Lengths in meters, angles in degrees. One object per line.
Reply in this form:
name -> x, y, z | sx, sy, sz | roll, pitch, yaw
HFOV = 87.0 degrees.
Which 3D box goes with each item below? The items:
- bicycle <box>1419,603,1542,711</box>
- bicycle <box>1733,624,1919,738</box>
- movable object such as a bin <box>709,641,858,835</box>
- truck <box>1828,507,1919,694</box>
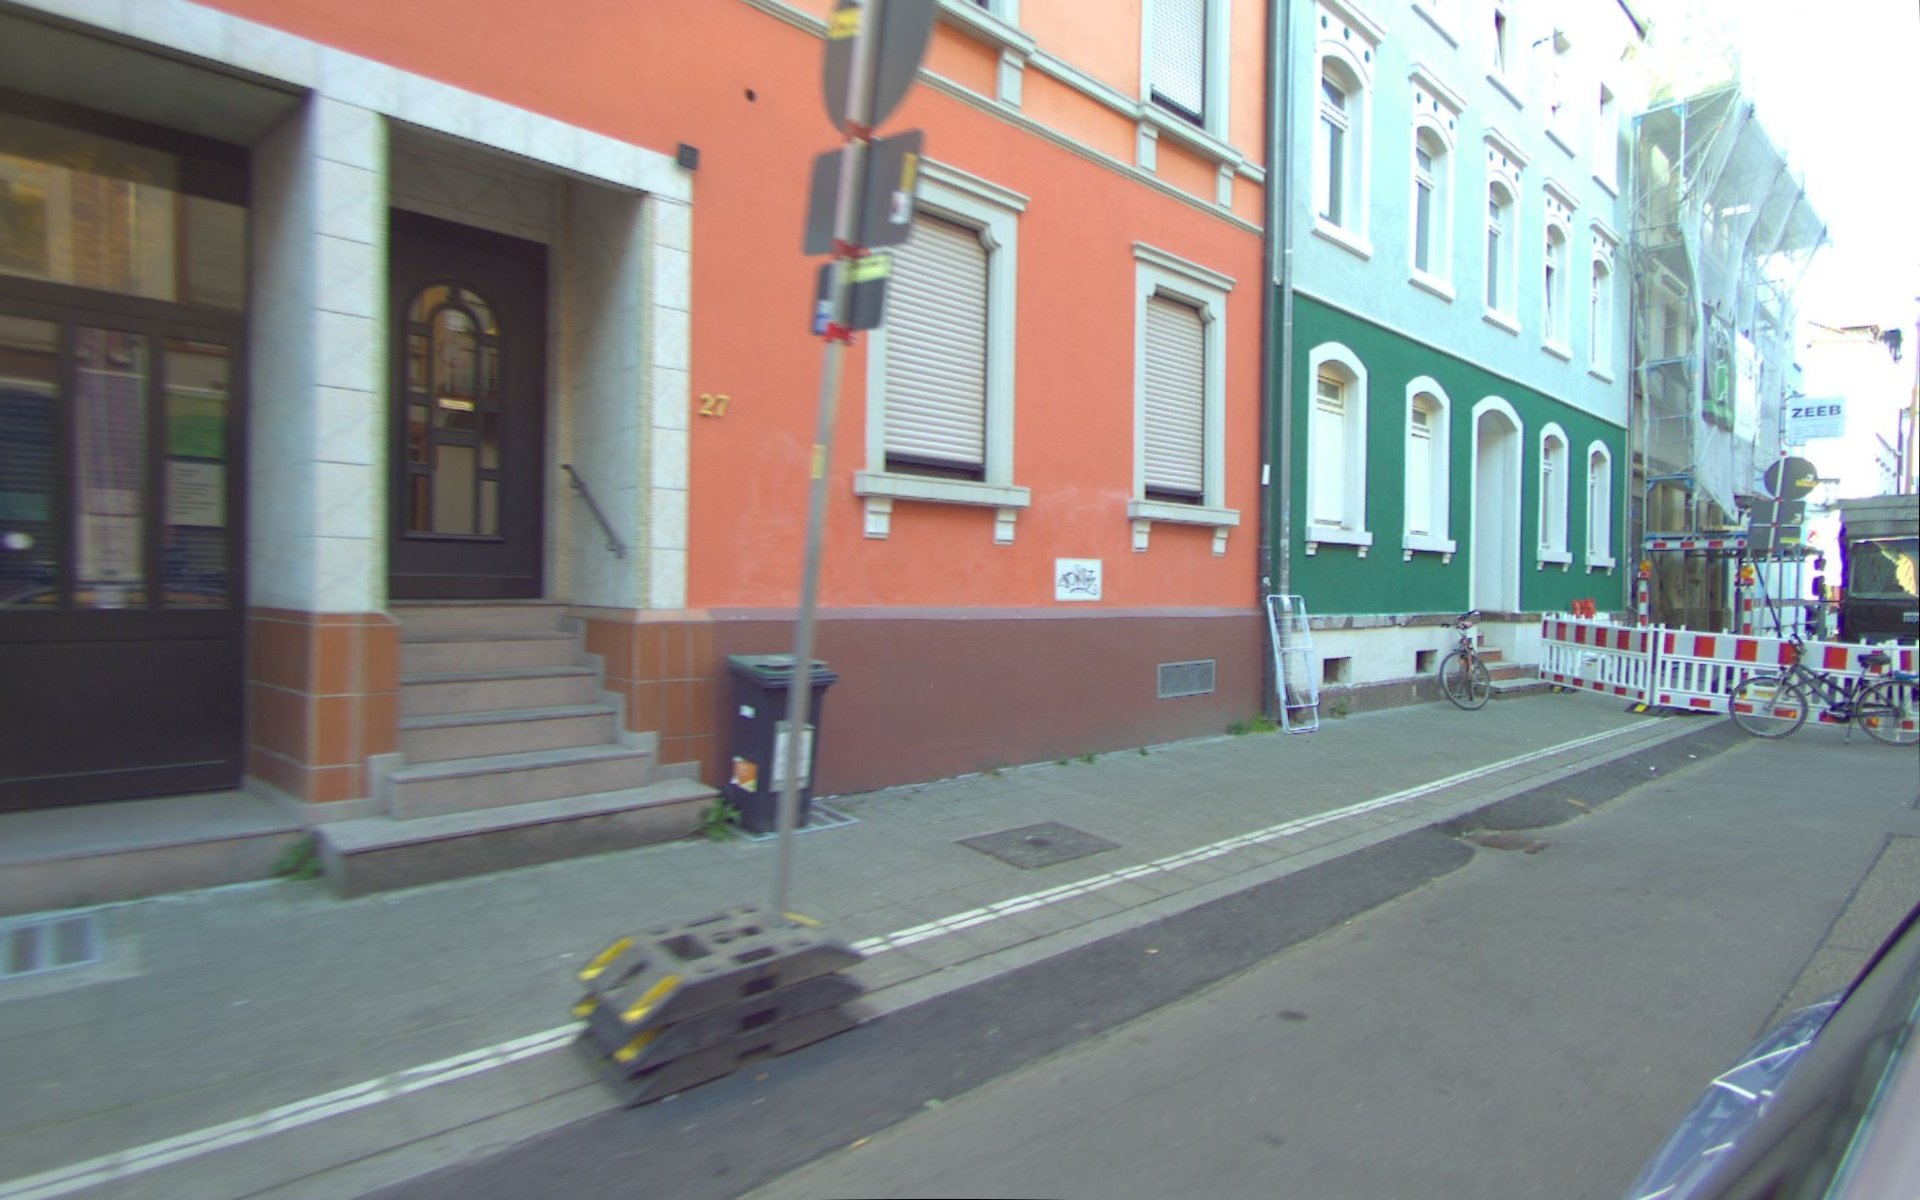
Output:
bicycle -> 6.316, 0.645, 12.246 | 1.803, 1.142, 0.656 | -1, 5, -42
bicycle -> 9.542, 0.840, 10.941 | 1.848, 1.124, 0.634 | 0, 0, 42
movable object such as a bin -> -0.985, 0.728, 5.619 | 0.570, 0.916, 0.598 | -1, 5, -43
truck -> 17.499, -0.034, 17.649 | 7.266, 2.849, 2.665 | -1, 0, -42
